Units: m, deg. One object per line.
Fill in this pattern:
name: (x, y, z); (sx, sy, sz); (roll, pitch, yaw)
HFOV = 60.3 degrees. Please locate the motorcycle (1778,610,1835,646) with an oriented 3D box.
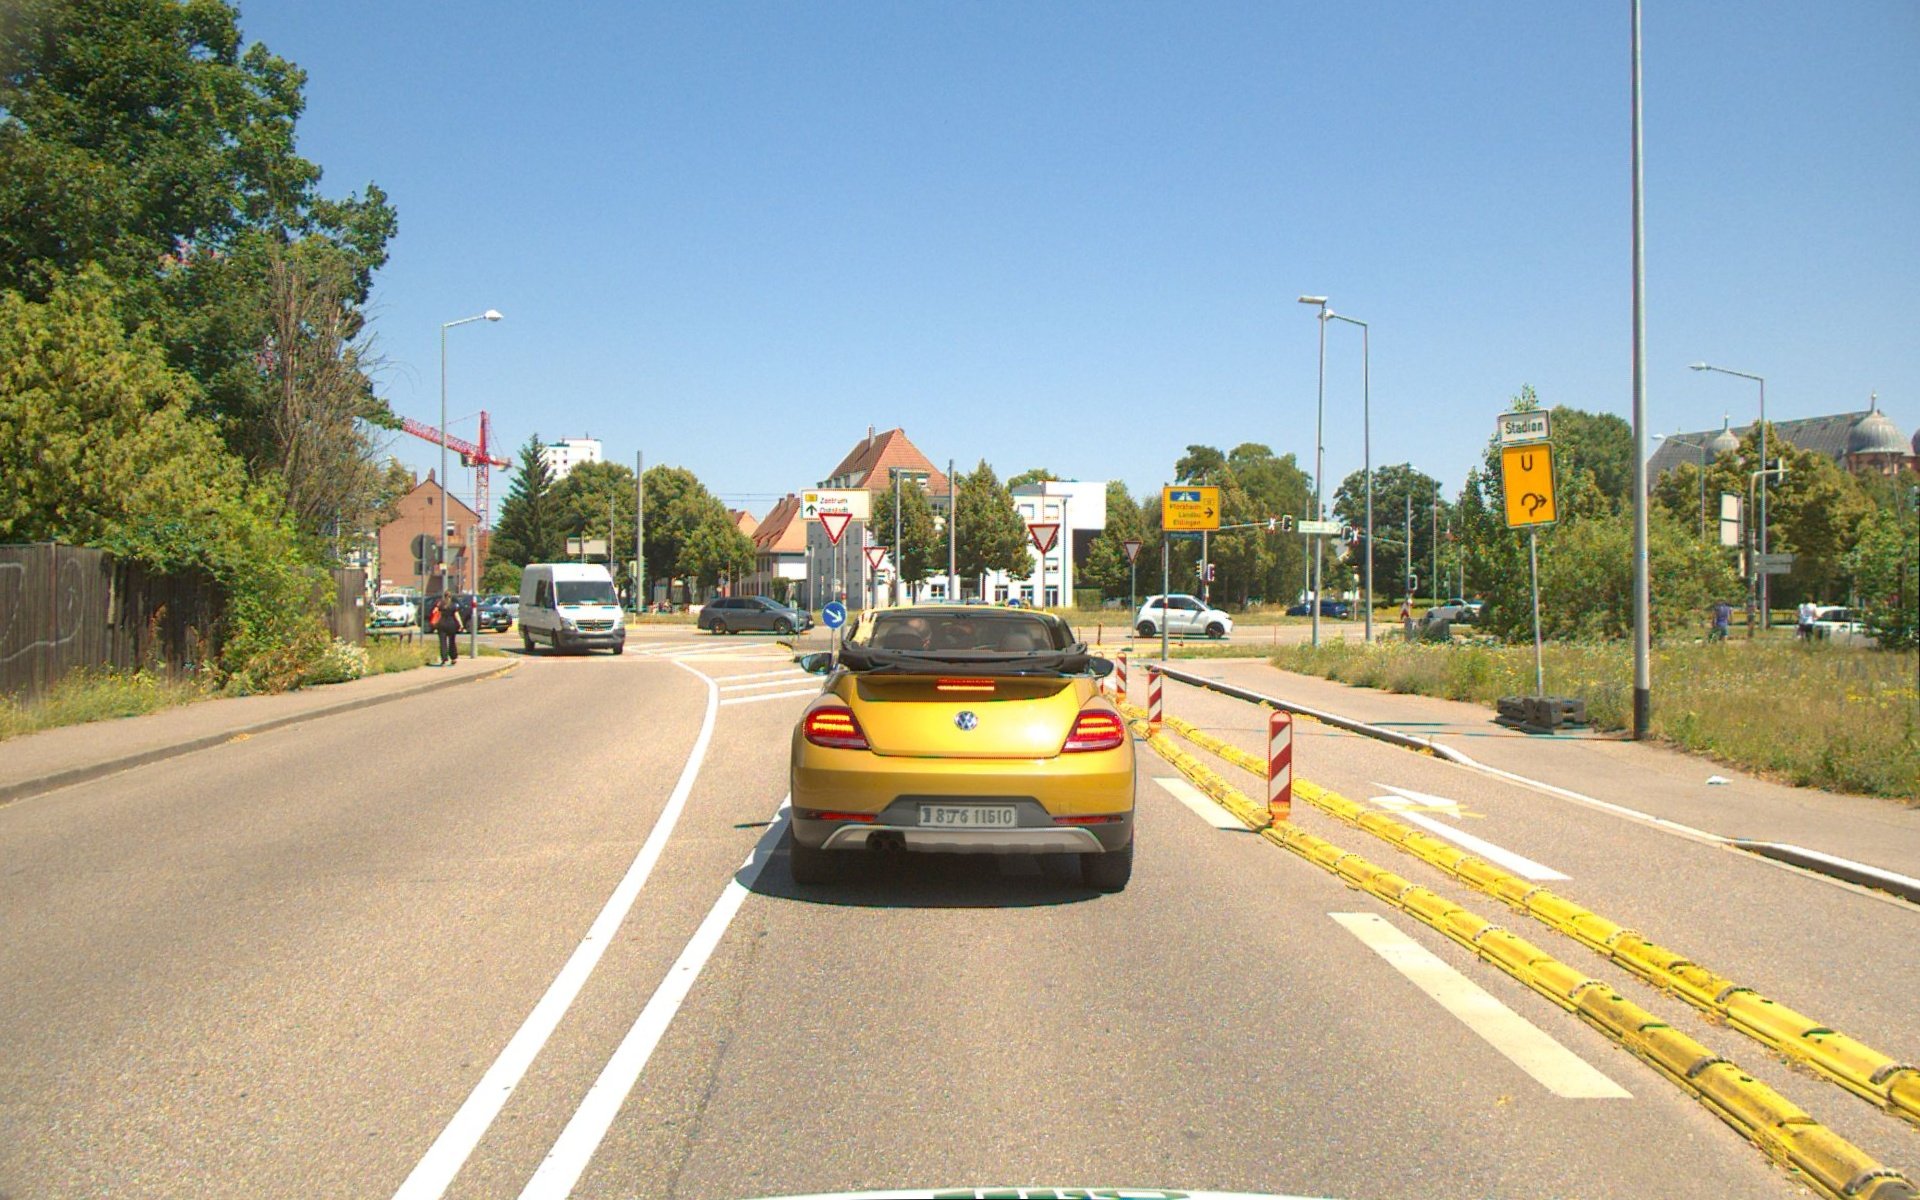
motorcycle: (24.050, 0.797, 46.976); (1.685, 0.987, 0.625); (1, -1, -30)

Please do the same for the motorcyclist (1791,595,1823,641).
motorcyclist: (24.076, 0.505, 47.023); (0.606, 1.312, 0.576); (1, -1, -30)

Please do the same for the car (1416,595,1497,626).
car: (30.108, 0.649, 100.381); (1.991, 1.817, 5.148); (-1, 0, -21)

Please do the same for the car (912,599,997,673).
car: (-0.132, 0.737, 35.647); (1.701, 1.467, 3.999); (1, 0, -1)

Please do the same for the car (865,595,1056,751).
car: (-0.018, 0.709, 17.818); (1.810, 1.467, 3.999); (1, 0, -1)

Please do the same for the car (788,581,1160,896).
car: (0.039, 0.657, 9.602); (1.717, 1.447, 3.776); (1, 0, -1)

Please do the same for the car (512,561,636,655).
car: (-11.513, 0.227, 48.898); (1.996, 2.583, 6.767); (-1, 0, -27)

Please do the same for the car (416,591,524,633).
car: (-20.028, 0.469, 67.565); (4.357, 1.624, 1.993); (1, 0, 35)

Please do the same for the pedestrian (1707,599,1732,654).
pedestrian: (22.373, 0.780, 48.756); (0.487, 1.590, 0.514); (1, -1, -1)

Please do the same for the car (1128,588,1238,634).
car: (8.085, 0.384, 59.924); (3.902, 1.579, 1.742); (1, 0, 8)

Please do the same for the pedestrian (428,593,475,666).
pedestrian: (-11.221, 0.643, 36.510); (0.792, 1.590, 0.876); (1, 0, -5)

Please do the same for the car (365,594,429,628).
car: (-27.072, 0.541, 79.594); (1.720, 1.576, 3.999); (1, 0, -1)

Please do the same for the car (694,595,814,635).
car: (-7.779, 0.568, 62.574); (4.104, 1.415, 1.903); (1, 0, 15)

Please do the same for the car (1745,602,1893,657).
car: (26.196, 0.891, 50.479); (3.914, 1.579, 1.736); (1, 0, 32)

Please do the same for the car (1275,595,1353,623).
car: (23.837, 0.603, 111.450); (4.845, 1.817, 2.014); (-1, 0, 43)

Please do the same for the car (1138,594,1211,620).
car: (15.361, 0.520, 118.561); (4.837, 1.817, 2.017); (-1, 0, 38)
